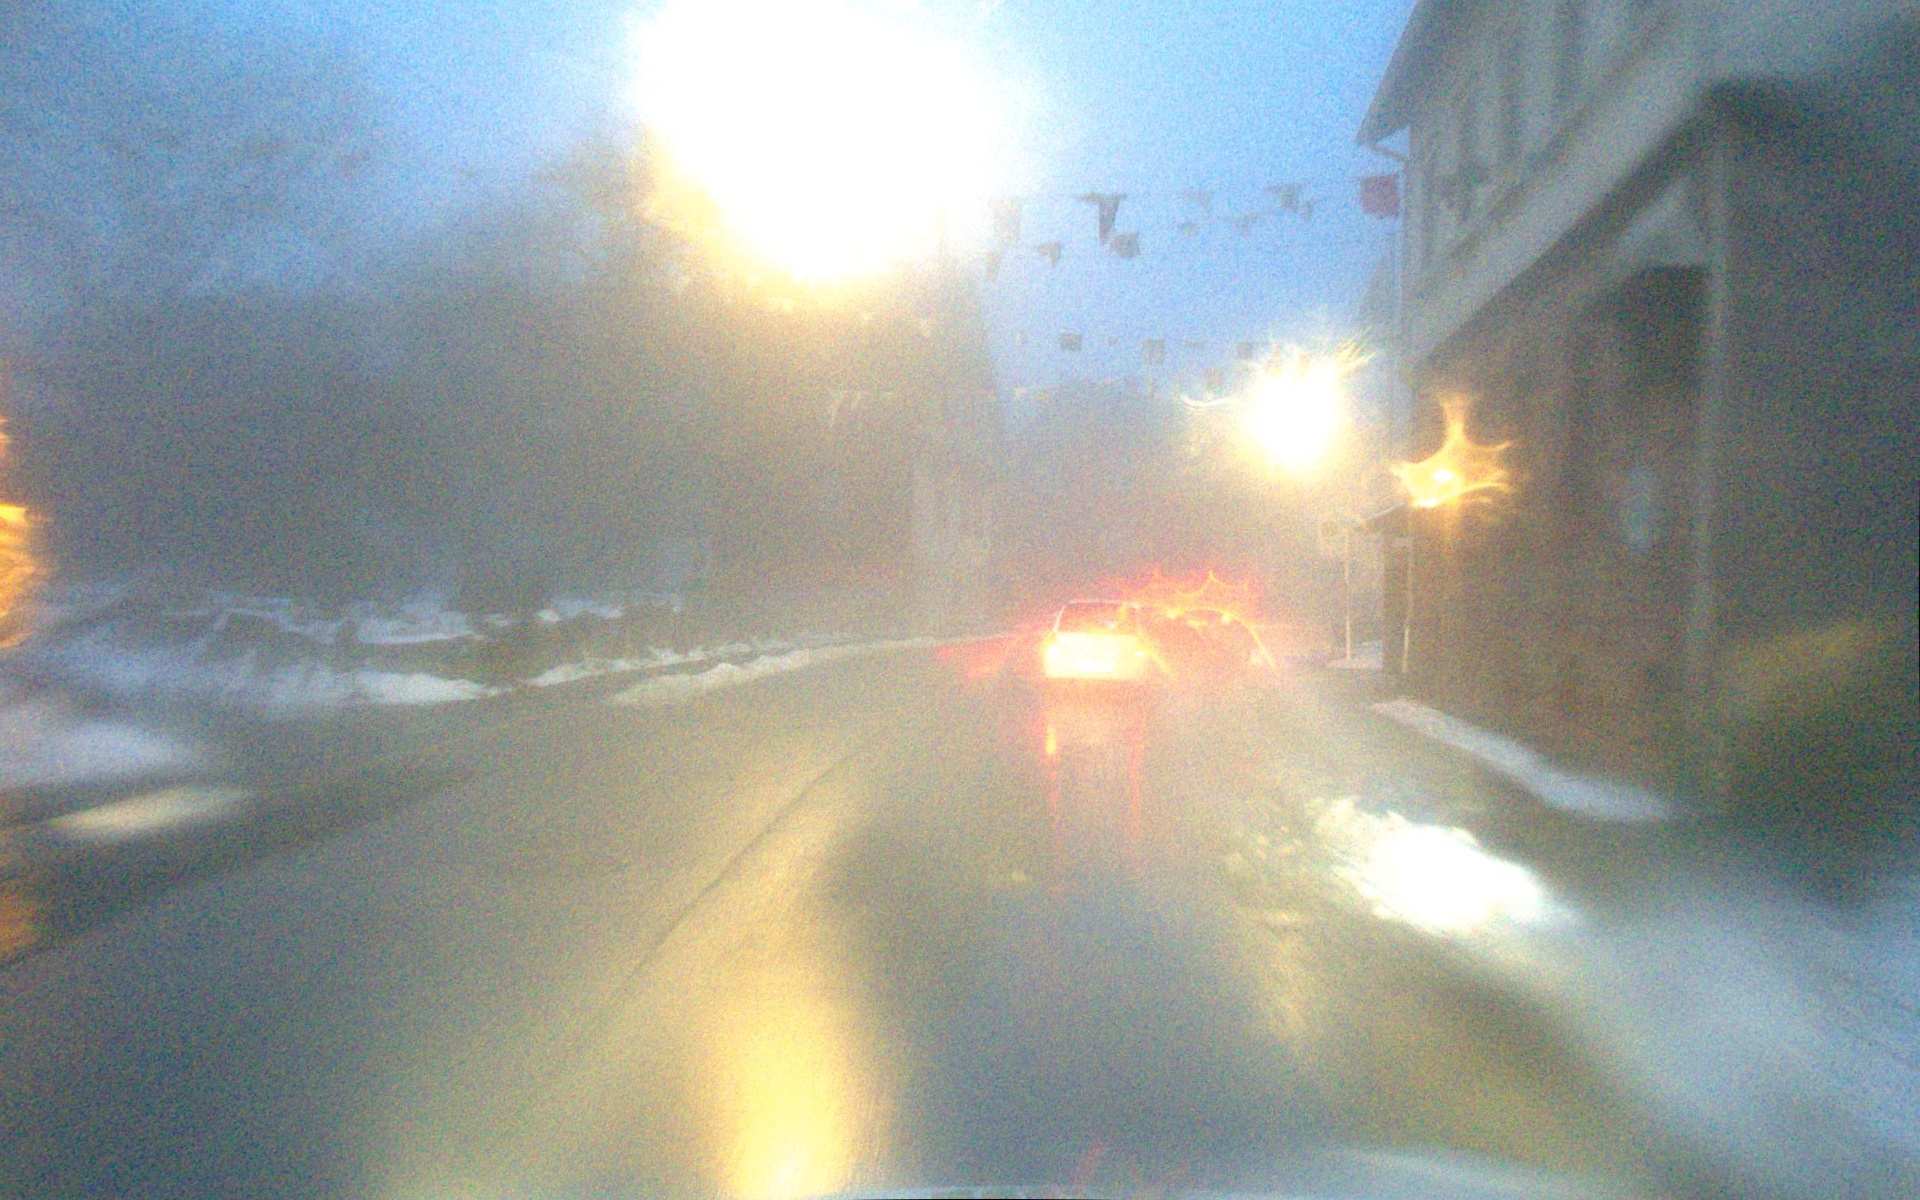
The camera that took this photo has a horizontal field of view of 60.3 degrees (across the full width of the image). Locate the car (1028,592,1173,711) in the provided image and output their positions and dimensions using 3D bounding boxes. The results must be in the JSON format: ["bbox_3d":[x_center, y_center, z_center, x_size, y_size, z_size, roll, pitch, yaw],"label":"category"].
[{"bbox_3d":[2.123,0.812,25.413,1.952,1.534,4.001,4,-2,4],"label":"car"}]

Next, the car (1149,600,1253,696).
[{"bbox_3d":[5.789,1.184,39.370,1.951,2.049,4.002,4,-2,14],"label":"car"}]
